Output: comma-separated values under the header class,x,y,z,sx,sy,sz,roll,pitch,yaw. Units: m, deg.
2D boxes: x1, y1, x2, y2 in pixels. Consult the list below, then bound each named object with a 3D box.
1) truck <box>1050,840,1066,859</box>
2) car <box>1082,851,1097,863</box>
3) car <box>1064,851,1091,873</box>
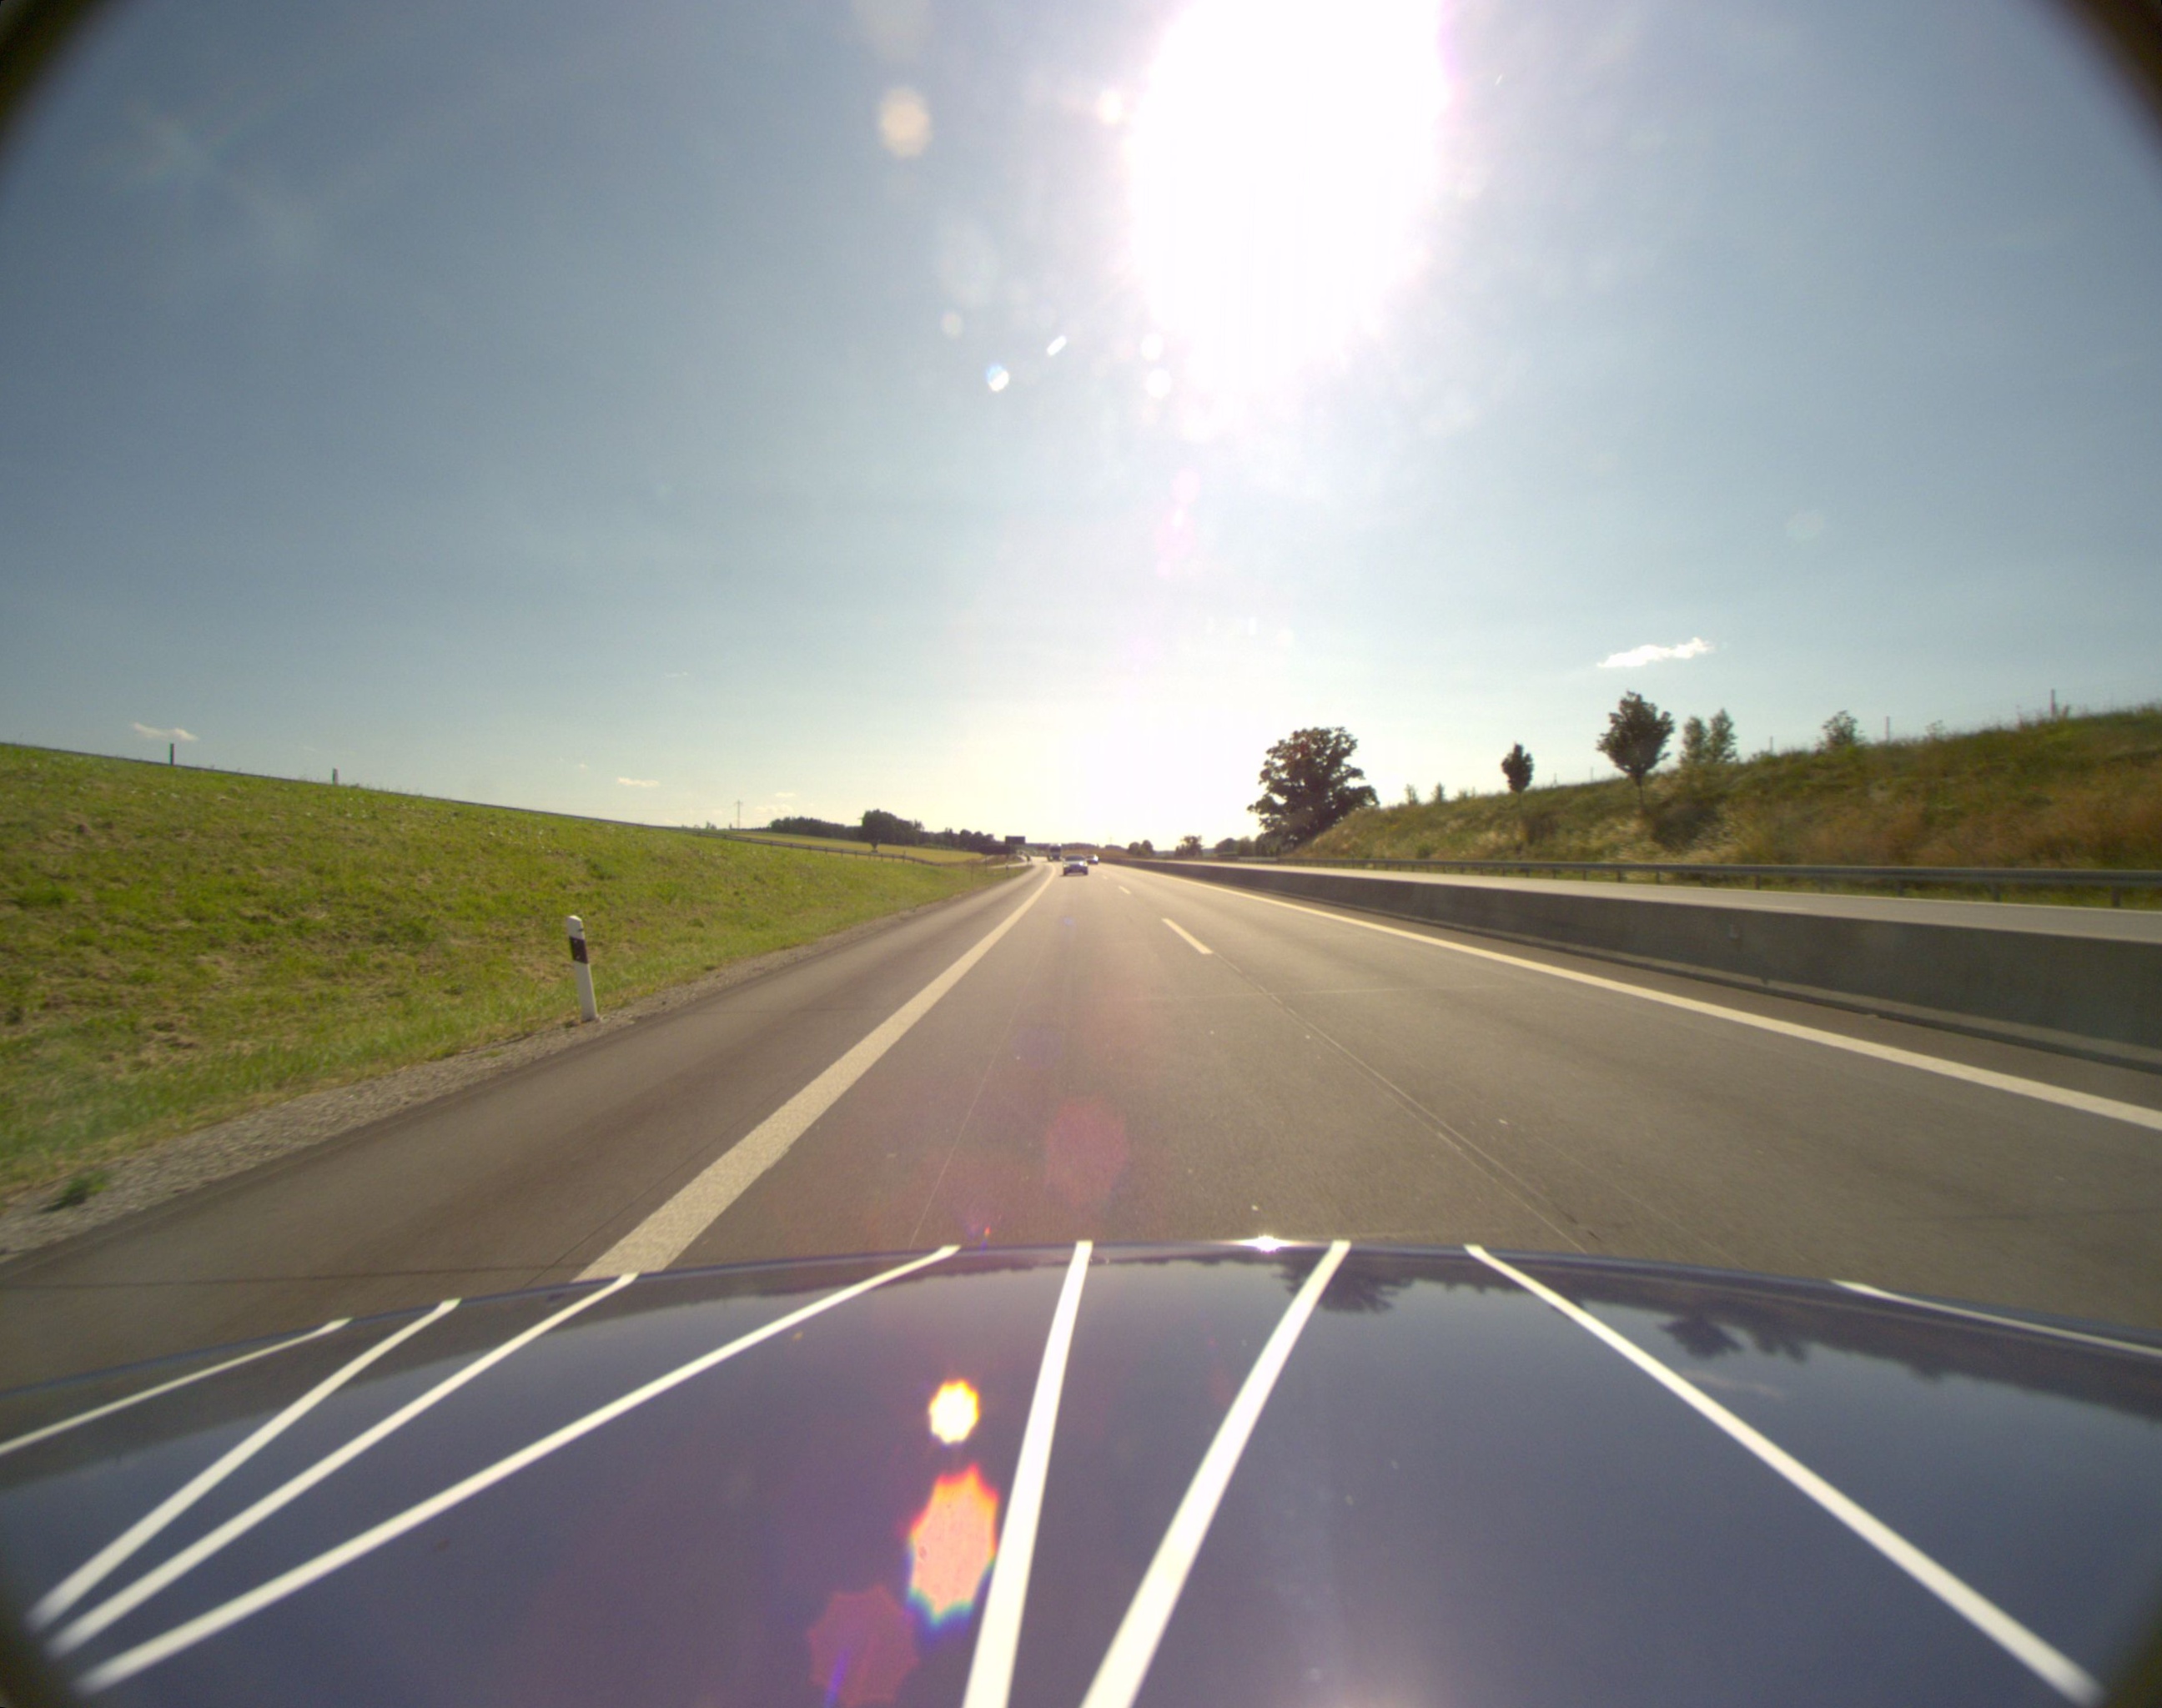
class,x,y,z,sx,sy,sz,roll,pitch,yaw
truck,-4.956,-0.986,162.616,3.092,3.991,6.185,-1,0,-5
car,1.223,0.399,109.677,1.900,1.560,3.999,-1,0,-2
car,-0.261,0.596,57.219,1.892,1.565,3.791,-2,0,-1
